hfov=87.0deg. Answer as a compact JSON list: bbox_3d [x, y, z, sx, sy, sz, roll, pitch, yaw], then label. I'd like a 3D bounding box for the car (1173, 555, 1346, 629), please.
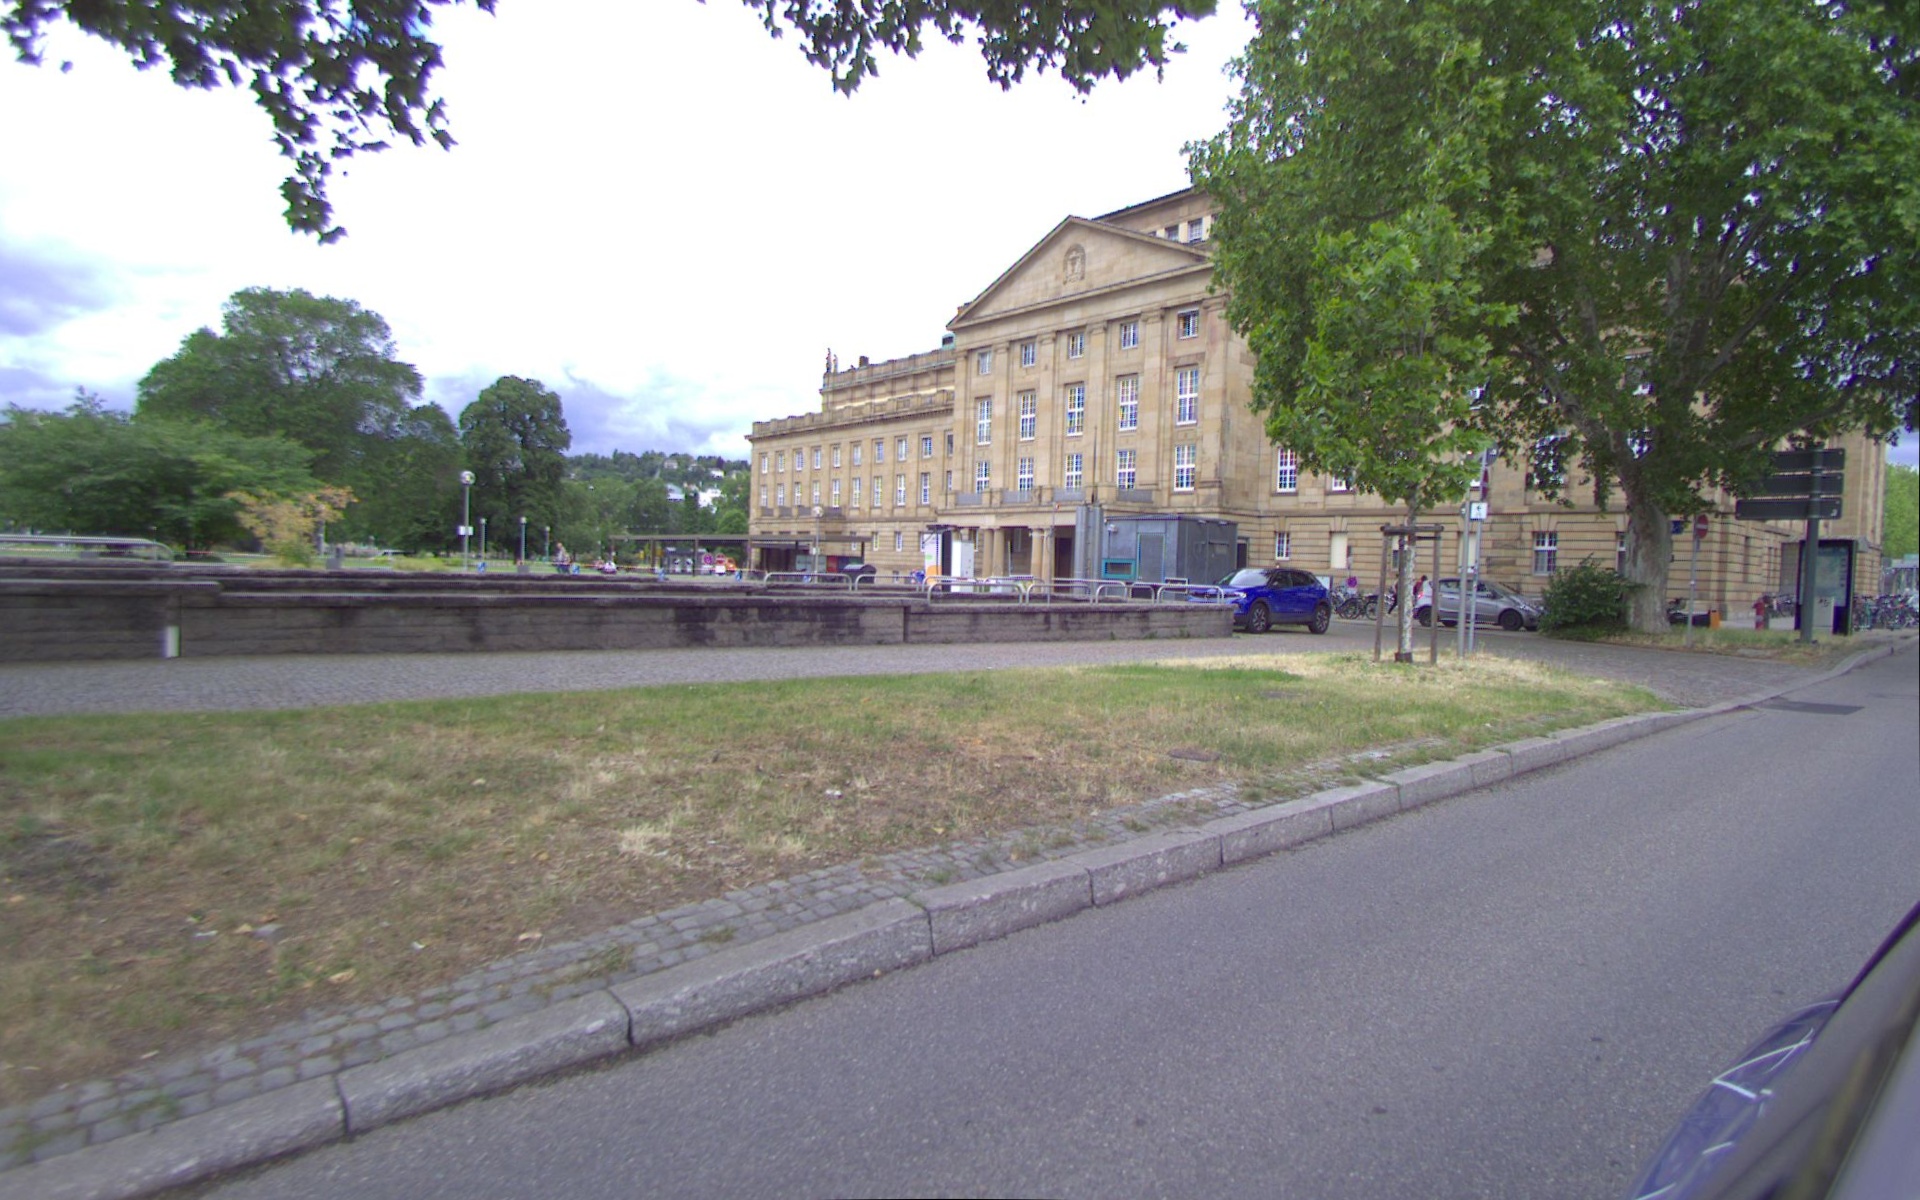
[{"bbox_3d":[7.029,-0.171,23.595,4.140,1.536,1.768,2,1,-39],"label":"car"}]

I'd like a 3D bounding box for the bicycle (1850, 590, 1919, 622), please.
[{"bbox_3d":[35.040,0.225,38.370,1.912,1.112,0.533,3,2,43],"label":"bicycle"}]

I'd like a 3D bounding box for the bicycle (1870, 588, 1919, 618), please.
[{"bbox_3d":[38.176,0.128,40.951,1.921,1.146,0.535,2,2,31],"label":"bicycle"}]

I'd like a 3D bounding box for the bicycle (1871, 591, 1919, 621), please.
[{"bbox_3d":[36.475,0.239,39.094,1.834,1.085,0.524,3,2,42],"label":"bicycle"}]

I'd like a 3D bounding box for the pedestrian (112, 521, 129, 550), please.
[{"bbox_3d":[-53.716,-4.146,64.765,0.801,1.825,0.857,0,2,-42],"label":"pedestrian"}]

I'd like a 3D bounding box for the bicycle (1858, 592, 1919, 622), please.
[{"bbox_3d":[35.611,0.251,38.717,1.834,1.085,0.609,3,2,43],"label":"bicycle"}]

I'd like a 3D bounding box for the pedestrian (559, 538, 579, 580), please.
[{"bbox_3d":[-19.397,-2.031,50.157,0.799,2.039,0.768,-1,1,-29],"label":"pedestrian"}]

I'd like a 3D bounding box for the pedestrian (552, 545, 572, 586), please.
[{"bbox_3d":[-19.996,-1.732,50.891,0.799,2.039,0.860,-1,1,-28],"label":"pedestrian"}]

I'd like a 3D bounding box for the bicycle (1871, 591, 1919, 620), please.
[{"bbox_3d":[37.110,0.220,39.765,1.826,1.085,0.526,2,2,31],"label":"bicycle"}]

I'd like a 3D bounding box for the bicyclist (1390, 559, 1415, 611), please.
[{"bbox_3d":[17.389,-0.589,39.747,0.869,2.039,0.837,0,0,24],"label":"bicyclist"}]

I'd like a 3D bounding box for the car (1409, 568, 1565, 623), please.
[{"bbox_3d":[16.377,-0.154,31.583,1.704,1.616,3.994,-1,1,-40],"label":"car"}]

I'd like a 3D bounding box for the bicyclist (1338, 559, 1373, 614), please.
[{"bbox_3d":[14.952,-0.517,38.248,1.005,2.039,1.091,2,1,33],"label":"bicyclist"}]

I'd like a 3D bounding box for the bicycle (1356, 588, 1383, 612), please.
[{"bbox_3d":[16.485,-0.011,40.682,0.907,0.942,2.658,0,1,24],"label":"bicycle"}]

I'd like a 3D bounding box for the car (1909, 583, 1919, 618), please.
[{"bbox_3d":[45.575,0.014,46.839,3.927,1.549,1.844,-1,3,-38],"label":"car"}]

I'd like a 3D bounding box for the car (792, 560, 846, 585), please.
[{"bbox_3d":[-10.096,-1.957,72.228,1.965,1.738,3.995,-1,1,-40],"label":"car"}]

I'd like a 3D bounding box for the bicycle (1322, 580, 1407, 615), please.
[{"bbox_3d":[15.210,-0.103,38.087,2.825,1.199,1.085,2,2,34],"label":"bicycle"}]
